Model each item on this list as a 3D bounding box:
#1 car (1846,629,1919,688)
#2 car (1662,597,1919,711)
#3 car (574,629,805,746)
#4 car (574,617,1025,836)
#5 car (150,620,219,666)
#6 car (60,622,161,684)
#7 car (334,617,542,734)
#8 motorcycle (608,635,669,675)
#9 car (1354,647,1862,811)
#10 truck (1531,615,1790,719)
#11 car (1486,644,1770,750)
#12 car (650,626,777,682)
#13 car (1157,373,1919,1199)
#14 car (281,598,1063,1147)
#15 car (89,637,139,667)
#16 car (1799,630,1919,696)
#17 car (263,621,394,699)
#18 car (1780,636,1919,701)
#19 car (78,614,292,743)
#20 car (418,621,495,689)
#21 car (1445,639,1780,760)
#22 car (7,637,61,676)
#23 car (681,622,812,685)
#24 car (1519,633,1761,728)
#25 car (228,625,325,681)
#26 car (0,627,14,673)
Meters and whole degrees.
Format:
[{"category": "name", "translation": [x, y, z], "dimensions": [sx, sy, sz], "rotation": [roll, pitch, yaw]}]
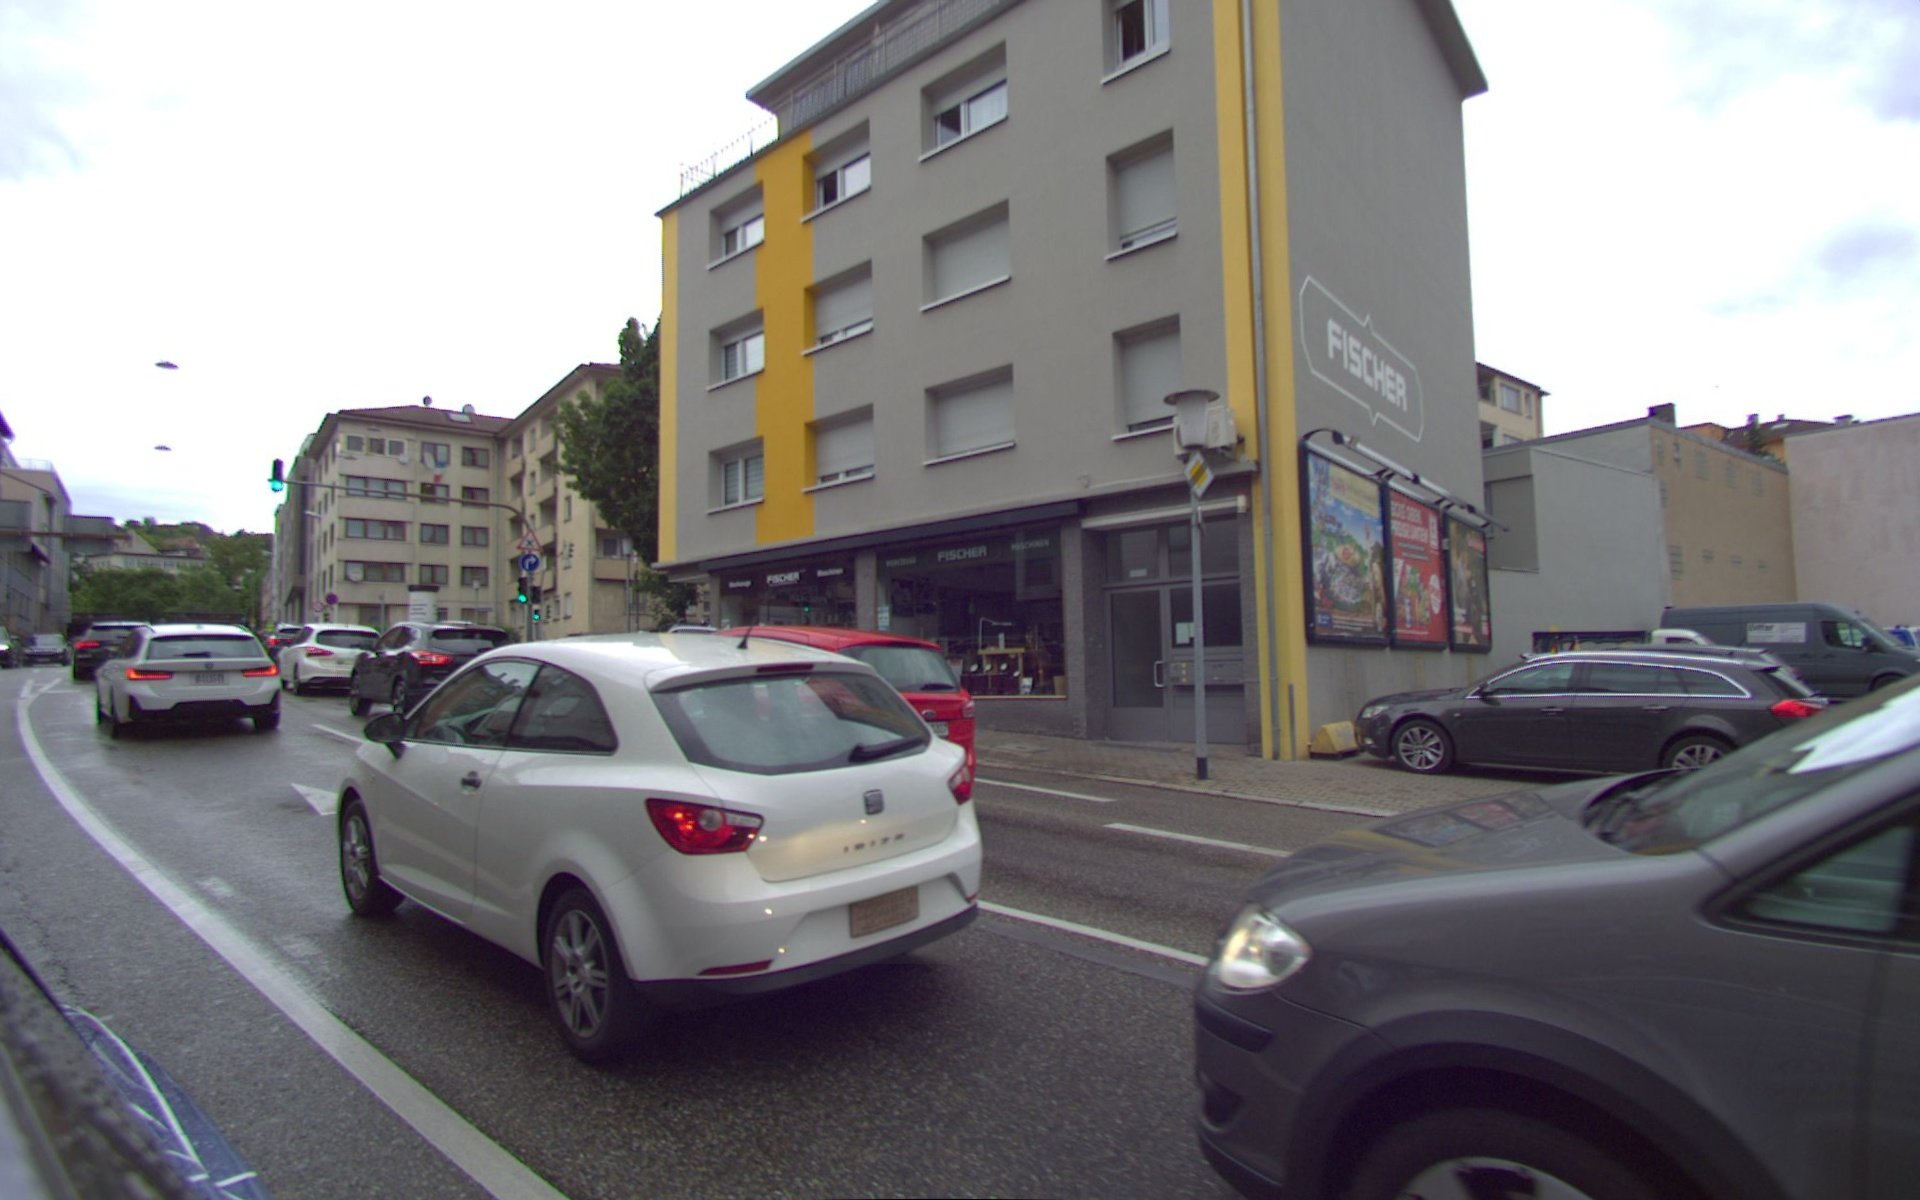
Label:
[{"category": "car", "translation": [31.507, 1.858, 33.075], "dimensions": [1.504, 1.851, 3.503], "rotation": [1, -6, -39]}, {"category": "car", "translation": [21.587, 1.434, 25.678], "dimensions": [2.099, 2.578, 5.641], "rotation": [1, -6, -38]}, {"category": "car", "translation": [-4.421, 1.336, 16.278], "dimensions": [3.927, 1.622, 1.638], "rotation": [-1, -5, 42]}, {"category": "car", "translation": [-1.601, 0.983, 9.205], "dimensions": [4.127, 1.527, 1.722], "rotation": [0, -4, 40]}, {"category": "car", "translation": [-29.243, 1.592, 38.124], "dimensions": [1.796, 1.548, 4.385], "rotation": [3, -2, -40]}, {"category": "car", "translation": [-21.898, 1.321, 26.022], "dimensions": [1.785, 1.425, 4.384], "rotation": [3, -3, -42]}, {"category": "car", "translation": [-8.567, 1.159, 16.423], "dimensions": [1.785, 1.644, 4.346], "rotation": [6, -5, -43]}, {"category": "motorcycle", "translation": [-10.975, 1.863, 34.595], "dimensions": [0.539, 1.339, 1.964], "rotation": [-3, -4, 42]}, {"category": "car", "translation": [7.189, 1.317, 11.688], "dimensions": [4.657, 1.466, 1.675], "rotation": [-1, -2, 38]}, {"category": "truck", "translation": [14.998, 1.495, 21.848], "dimensions": [4.226, 1.987, 1.696], "rotation": [-7, -6, 44]}, {"category": "car", "translation": [10.932, 1.615, 16.691], "dimensions": [3.567, 1.527, 1.713], "rotation": [-7, -6, 43]}, {"category": "car", "translation": [-8.364, 1.809, 34.713], "dimensions": [1.766, 1.741, 4.304], "rotation": [1, -1, 28]}, {"category": "car", "translation": [2.704, 0.566, 1.281], "dimensions": [4.559, 1.718, 1.788], "rotation": [-1, -2, 41]}, {"category": "car", "translation": [-1.719, 0.757, 4.855], "dimensions": [4.292, 1.491, 1.679], "rotation": [-1, -1, 44]}, {"category": "car", "translation": [-45.594, 2.804, 54.620], "dimensions": [1.811, 1.566, 4.008], "rotation": [2, -4, -37]}, {"category": "car", "translation": [26.304, 1.827, 29.221], "dimensions": [1.301, 1.751, 2.849], "rotation": [1, -6, -39]}, {"category": "car", "translation": [-14.078, 1.330, 22.446], "dimensions": [1.784, 1.554, 4.385], "rotation": [3, -4, -41]}, {"category": "car", "translation": [24.306, 1.793, 26.720], "dimensions": [1.766, 1.564, 3.765], "rotation": [1, -6, -40]}, {"category": "car", "translation": [-11.083, 0.989, 14.344], "dimensions": [1.786, 1.533, 4.564], "rotation": [3, -3, -45]}, {"category": "car", "translation": [-15.612, 1.721, 31.547], "dimensions": [1.703, 1.843, 4.073], "rotation": [7, -6, -22]}, {"category": "car", "translation": [9.281, 1.314, 14.560], "dimensions": [3.852, 1.475, 1.673], "rotation": [-1, -2, 41]}, {"category": "car", "translation": [-47.995, 2.950, 52.503], "dimensions": [1.766, 1.741, 4.007], "rotation": [1, -6, -39]}, {"category": "car", "translation": [-6.850, 1.672, 32.809], "dimensions": [1.857, 1.807, 3.952], "rotation": [-2, -1, 35]}, {"category": "car", "translation": [13.265, 1.612, 19.886], "dimensions": [1.654, 1.684, 3.550], "rotation": [1, -6, -42]}, {"category": "car", "translation": [-19.862, 1.542, 29.339], "dimensions": [1.796, 1.489, 4.385], "rotation": [3, -4, -41]}, {"category": "car", "translation": [-32.492, 1.667, 33.369], "dimensions": [1.848, 1.453, 4.003], "rotation": [2, -4, -44]}]
